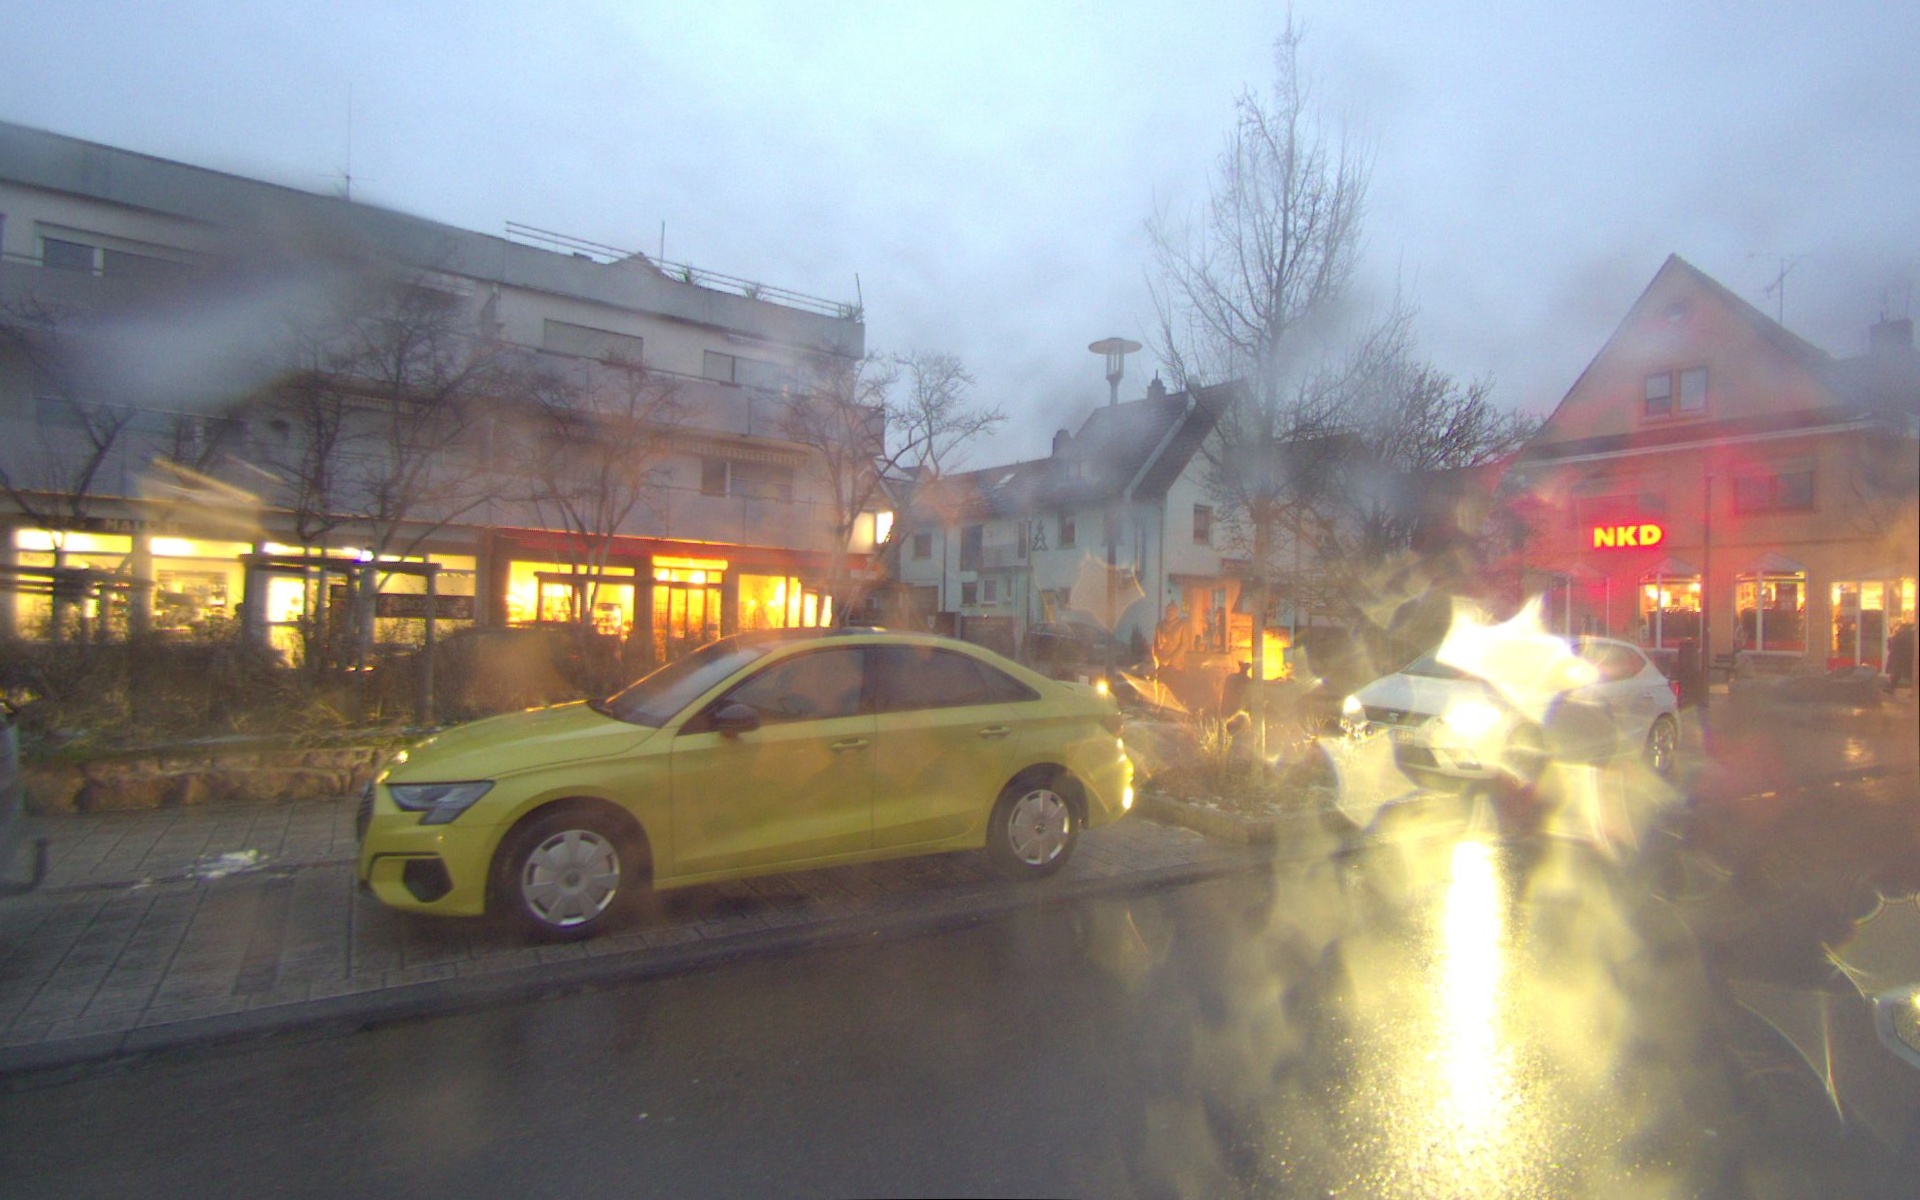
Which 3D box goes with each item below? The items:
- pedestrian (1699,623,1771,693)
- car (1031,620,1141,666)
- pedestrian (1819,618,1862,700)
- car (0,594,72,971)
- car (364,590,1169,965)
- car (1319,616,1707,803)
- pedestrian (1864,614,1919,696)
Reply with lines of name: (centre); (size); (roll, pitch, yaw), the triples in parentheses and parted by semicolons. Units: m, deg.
pedestrian: (17.256, 1.291, 22.386); (0.766, 1.437, 0.887); (2, 5, -25)
car: (4.561, 1.541, 36.786); (1.604, 1.539, 3.854); (2, -1, -43)
pedestrian: (19.563, 1.301, 22.317); (0.677, 1.765, 0.584); (2, -1, -35)
car: (-5.681, 0.707, 3.410); (3.733, 1.536, 1.682); (2, 0, -33)
car: (-0.999, 0.789, 5.987); (4.290, 1.536, 1.741); (2, 0, -29)
car: (5.711, 0.996, 10.273); (3.953, 1.536, 1.661); (2, 1, -30)
pedestrian: (21.092, 1.211, 22.526); (0.951, 1.766, 0.968); (0, 1, -33)
